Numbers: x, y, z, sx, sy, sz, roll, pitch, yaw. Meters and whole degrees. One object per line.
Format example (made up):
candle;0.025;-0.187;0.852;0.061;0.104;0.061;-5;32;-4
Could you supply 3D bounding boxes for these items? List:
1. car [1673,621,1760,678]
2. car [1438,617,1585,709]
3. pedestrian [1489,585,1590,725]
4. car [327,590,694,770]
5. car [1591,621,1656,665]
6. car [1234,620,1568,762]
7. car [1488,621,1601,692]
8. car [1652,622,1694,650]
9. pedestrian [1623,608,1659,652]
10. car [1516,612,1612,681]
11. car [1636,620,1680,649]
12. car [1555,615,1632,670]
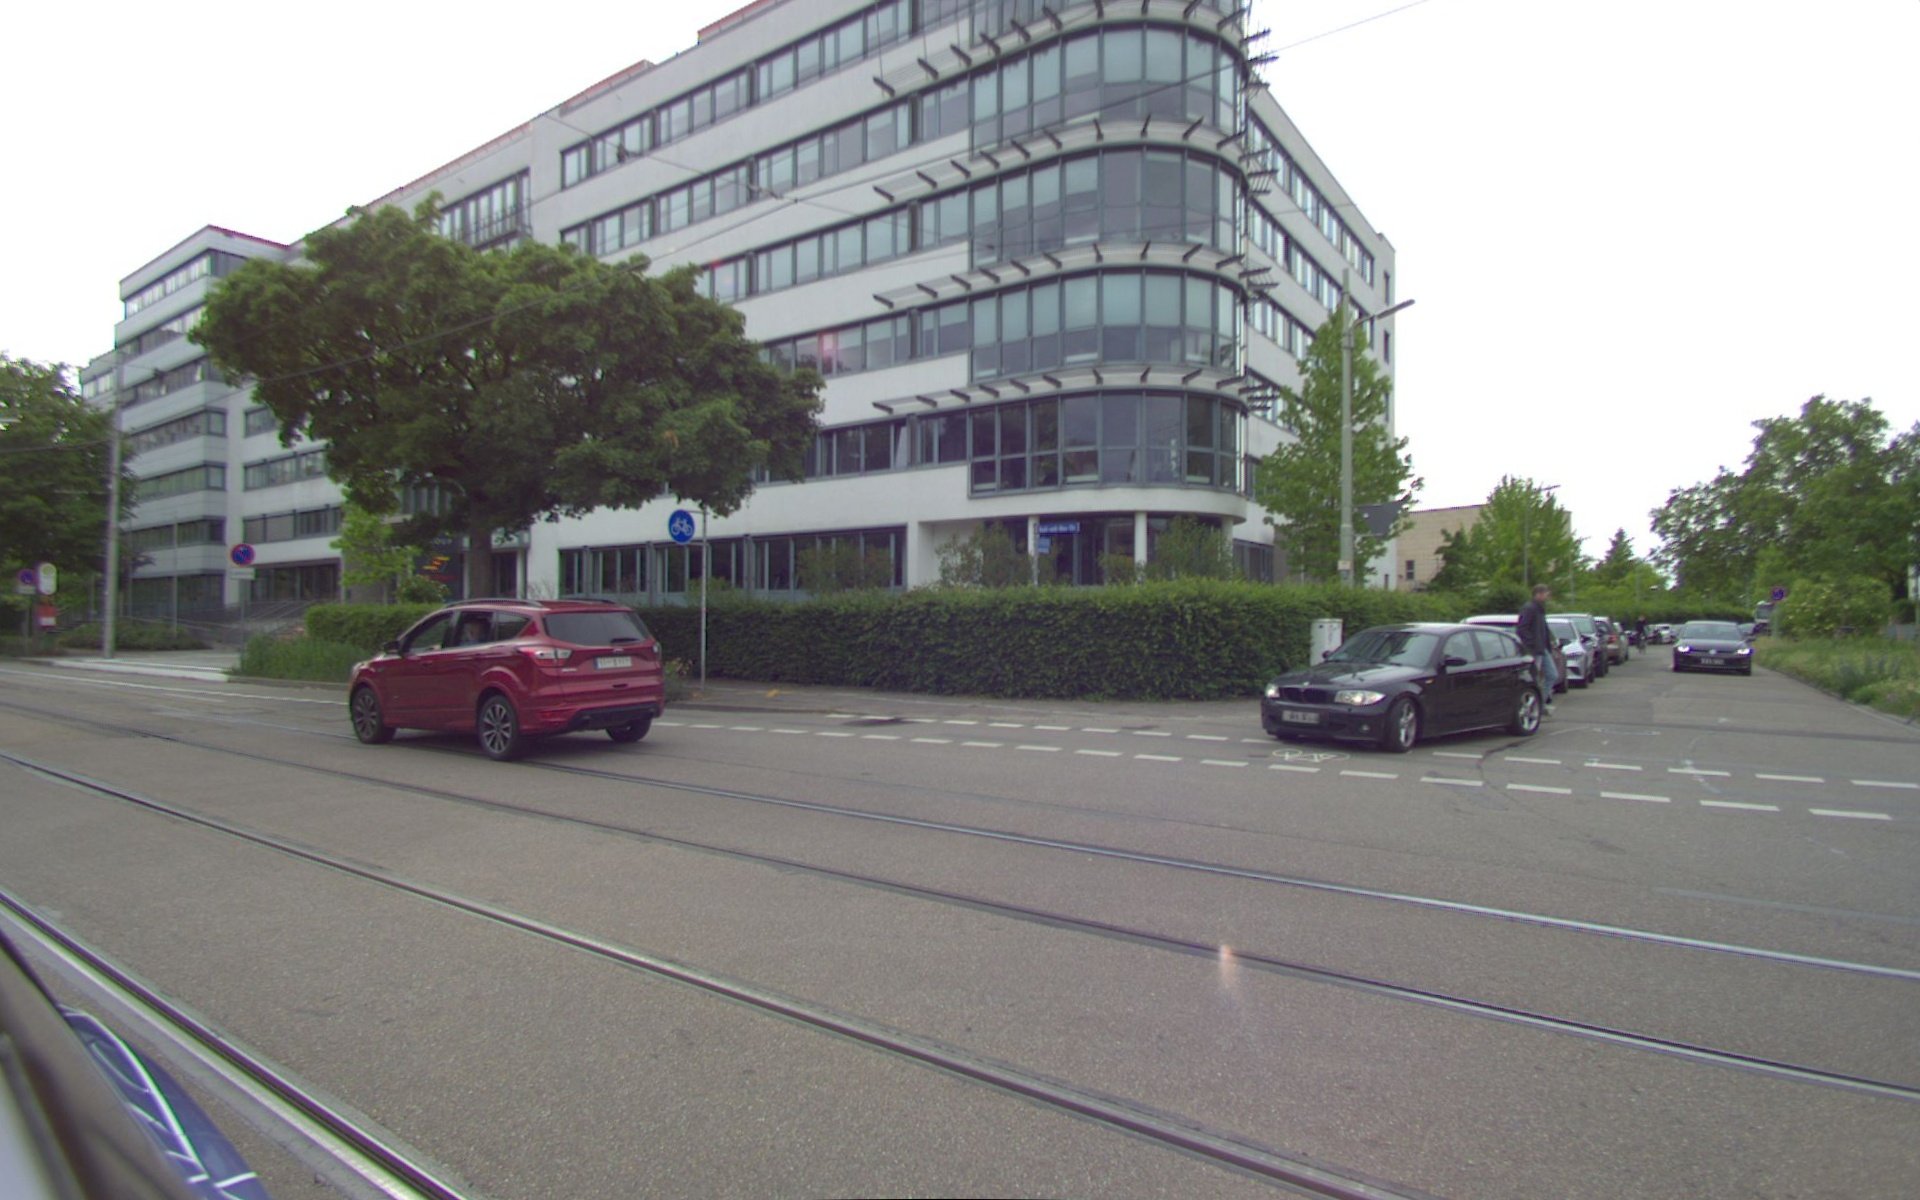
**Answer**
car;21.427;1.348;28.615;1.815;1.462;3.934;-1;-2;39
car;9.900;1.058;18.026;1.722;1.433;3.970;-3;-3;36
pedestrian;7.959;0.722;13.901;1.058;1.839;0.796;-1;-1;40
car;-5.302;0.807;11.774;4.395;1.737;1.827;-1;-2;33
car;26.021;1.633;39.637;1.877;1.573;3.950;-1;-1;37
car;5.387;0.967;12.230;4.044;1.379;1.793;0;0;-34
car;12.648;1.138;21.794;1.775;1.359;4.000;-1;-1;35
car;55.751;2.777;79.152;3.941;2.029;2.001;0;-1;-45
pedestrian;32.509;1.436;48.337;1.181;2.029;1.206;-1;-2;24
car;15.912;1.143;26.571;1.994;1.663;3.954;-1;-1;33
car;52.521;2.563;76.113;3.941;2.029;2.001;0;-1;-45
car;21.458;1.388;34.221;1.885;1.694;3.789;-1;-1;37
